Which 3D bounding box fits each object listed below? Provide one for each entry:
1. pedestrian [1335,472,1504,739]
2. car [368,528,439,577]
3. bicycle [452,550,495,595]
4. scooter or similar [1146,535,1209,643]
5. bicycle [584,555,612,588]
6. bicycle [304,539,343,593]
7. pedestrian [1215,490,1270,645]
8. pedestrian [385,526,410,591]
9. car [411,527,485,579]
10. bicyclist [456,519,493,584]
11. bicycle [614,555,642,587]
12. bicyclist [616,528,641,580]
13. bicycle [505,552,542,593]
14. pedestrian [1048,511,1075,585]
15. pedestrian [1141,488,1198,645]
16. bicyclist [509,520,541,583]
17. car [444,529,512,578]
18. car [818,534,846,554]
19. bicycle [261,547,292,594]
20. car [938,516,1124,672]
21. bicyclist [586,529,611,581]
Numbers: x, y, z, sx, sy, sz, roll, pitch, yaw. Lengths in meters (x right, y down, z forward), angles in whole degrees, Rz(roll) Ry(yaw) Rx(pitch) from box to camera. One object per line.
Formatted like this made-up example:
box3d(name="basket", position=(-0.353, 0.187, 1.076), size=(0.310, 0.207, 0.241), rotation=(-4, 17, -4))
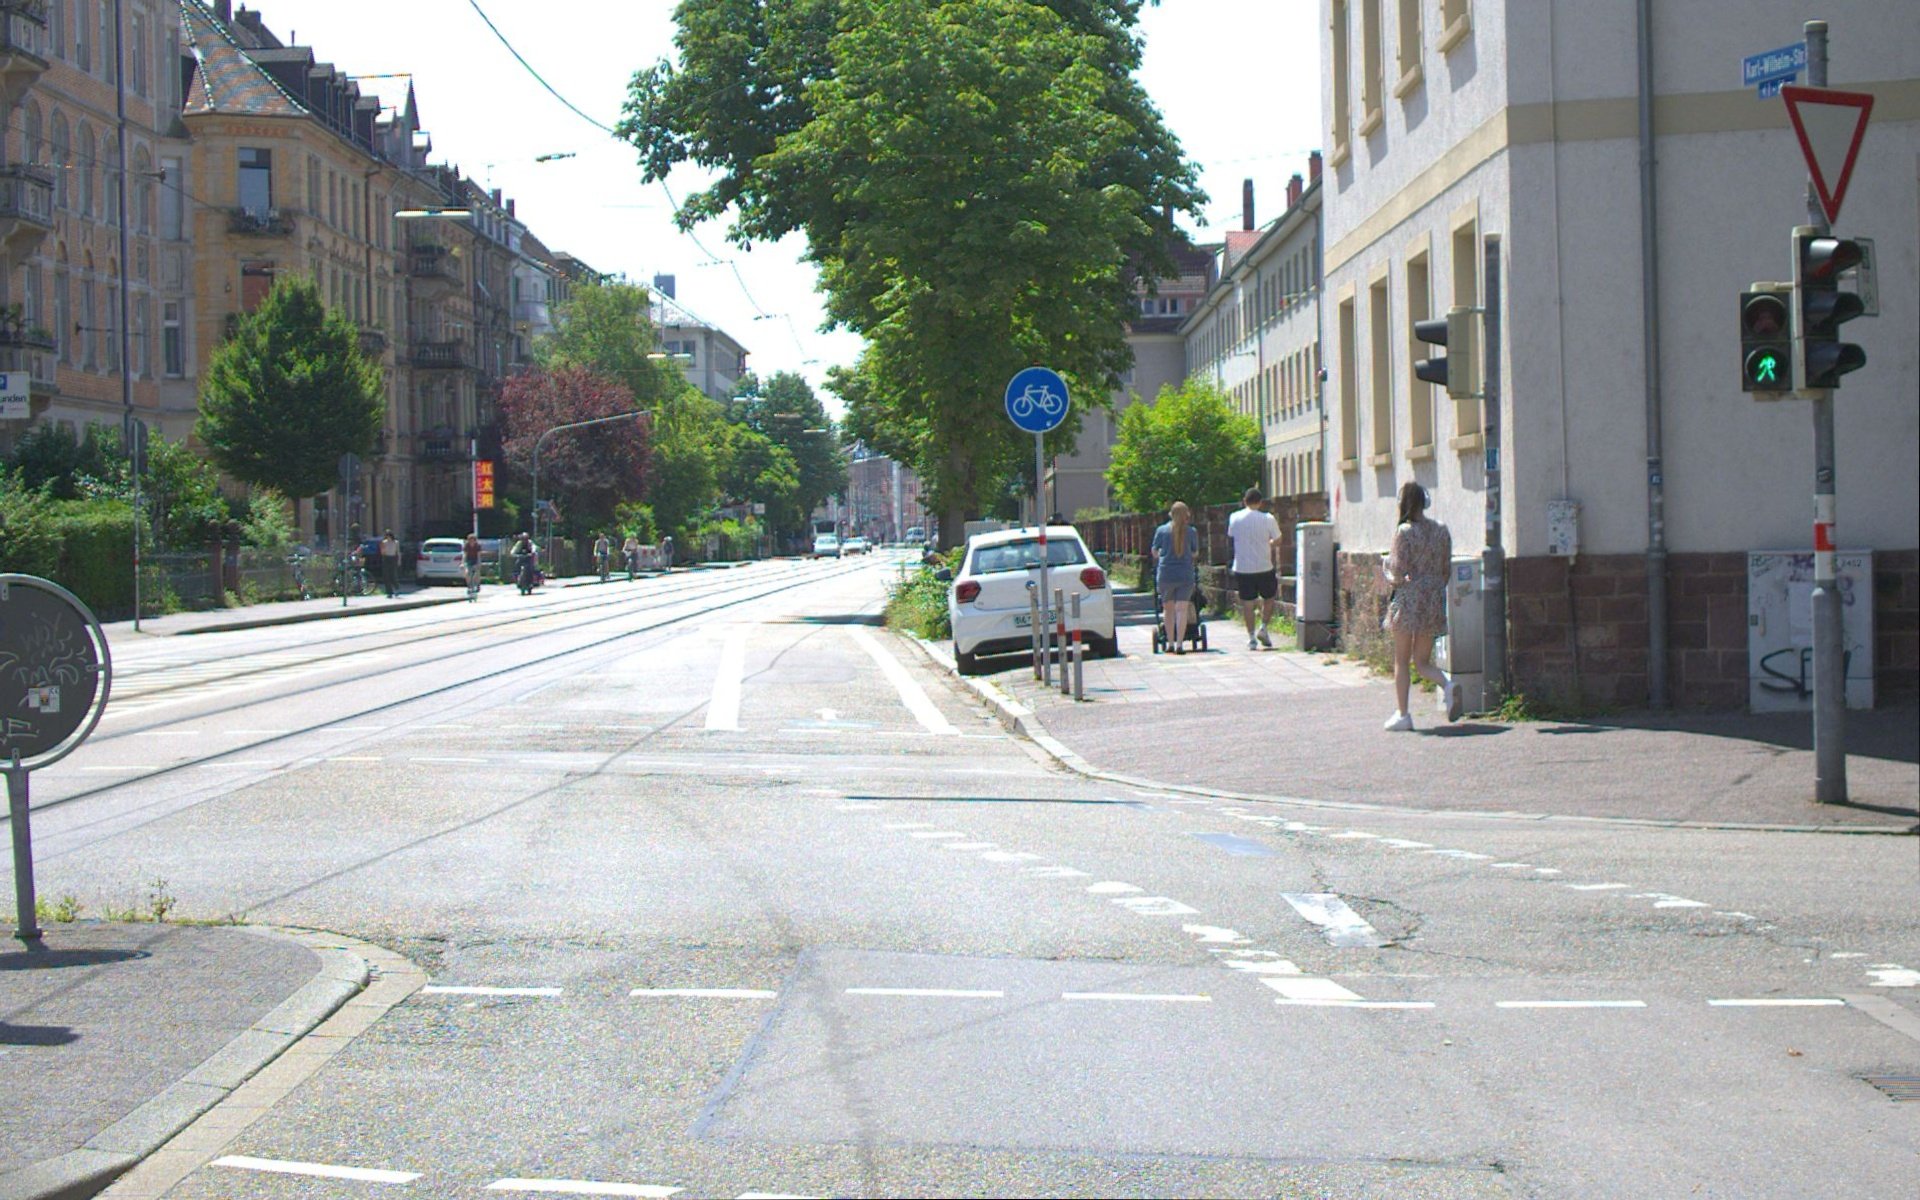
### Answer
box3d(name="pedestrian", position=(3.094, 0.018, 23.210), size=(0.651, 1.684, 1.058), rotation=(-7, 4, -12))
box3d(name="car", position=(-20.028, -1.693, 123.898), size=(1.919, 1.709, 4.000), rotation=(1, 1, -1))
box3d(name="bicycle", position=(-12.282, -0.705, 86.895), size=(0.727, 1.119, 2.085), rotation=(1, 1, 1))
box3d(name="scooter or similar", position=(2.374, -0.124, 37.446), size=(0.557, 1.151, 1.205), rotation=(1, 0, 9))
box3d(name="bicycle", position=(-12.774, -1.005, 121.345), size=(0.727, 1.119, 2.085), rotation=(1, 1, 1))
box3d(name="bicycle", position=(-15.668, -0.845, 84.664), size=(0.677, 1.274, 1.919), rotation=(-1, 1, -3))
box3d(name="pedestrian", position=(3.032, -0.348, 36.809), size=(0.557, 1.640, 0.677), rotation=(1, 0, 5))
box3d(name="pedestrian", position=(-14.399, -1.064, 88.048), size=(0.521, 1.653, 0.529), rotation=(-1, 1, -1))
box3d(name="car", position=(-17.198, -1.571, 115.561), size=(1.919, 1.709, 4.000), rotation=(1, 1, -1))
box3d(name="bicyclist", position=(-12.273, -1.228, 86.899), size=(0.727, 1.623, 1.079), rotation=(1, 0, 1))
box3d(name="bicycle", position=(-11.691, -1.020, 121.276), size=(0.727, 1.119, 2.085), rotation=(1, 1, 1))
box3d(name="bicyclist", position=(-11.698, -1.628, 121.344), size=(0.727, 1.812, 1.079), rotation=(1, 0, 1))
box3d(name="bicycle", position=(-12.341, -0.777, 97.312), size=(0.727, 1.119, 2.085), rotation=(1, 1, 1))
box3d(name="pedestrian", position=(2.136, -1.098, 72.586), size=(0.521, 1.557, 0.573), rotation=(-1, 1, -1))
box3d(name="pedestrian", position=(2.230, -0.356, 36.510), size=(0.557, 1.640, 0.677), rotation=(1, 0, 5))
box3d(name="bicyclist", position=(-12.330, -1.364, 97.373), size=(0.727, 1.762, 1.079), rotation=(1, 0, 1))
box3d(name="car", position=(-17.342, -1.655, 123.825), size=(1.919, 1.709, 4.000), rotation=(1, 1, -1))
box3d(name="car", position=(-8.397, -3.672, 225.097), size=(1.706, 1.273, 4.000), rotation=(1, 1, -1))
box3d(name="bicycle", position=(-15.911, -0.696, 80.021), size=(0.677, 1.061, 1.919), rotation=(-1, 1, -11))
box3d(name="car", position=(0.716, -0.082, 37.303), size=(1.815, 1.511, 4.000), rotation=(-3, 1, -1))
box3d(name="bicyclist", position=(-12.762, -1.579, 121.301), size=(0.727, 1.812, 1.079), rotation=(1, 0, 1))
